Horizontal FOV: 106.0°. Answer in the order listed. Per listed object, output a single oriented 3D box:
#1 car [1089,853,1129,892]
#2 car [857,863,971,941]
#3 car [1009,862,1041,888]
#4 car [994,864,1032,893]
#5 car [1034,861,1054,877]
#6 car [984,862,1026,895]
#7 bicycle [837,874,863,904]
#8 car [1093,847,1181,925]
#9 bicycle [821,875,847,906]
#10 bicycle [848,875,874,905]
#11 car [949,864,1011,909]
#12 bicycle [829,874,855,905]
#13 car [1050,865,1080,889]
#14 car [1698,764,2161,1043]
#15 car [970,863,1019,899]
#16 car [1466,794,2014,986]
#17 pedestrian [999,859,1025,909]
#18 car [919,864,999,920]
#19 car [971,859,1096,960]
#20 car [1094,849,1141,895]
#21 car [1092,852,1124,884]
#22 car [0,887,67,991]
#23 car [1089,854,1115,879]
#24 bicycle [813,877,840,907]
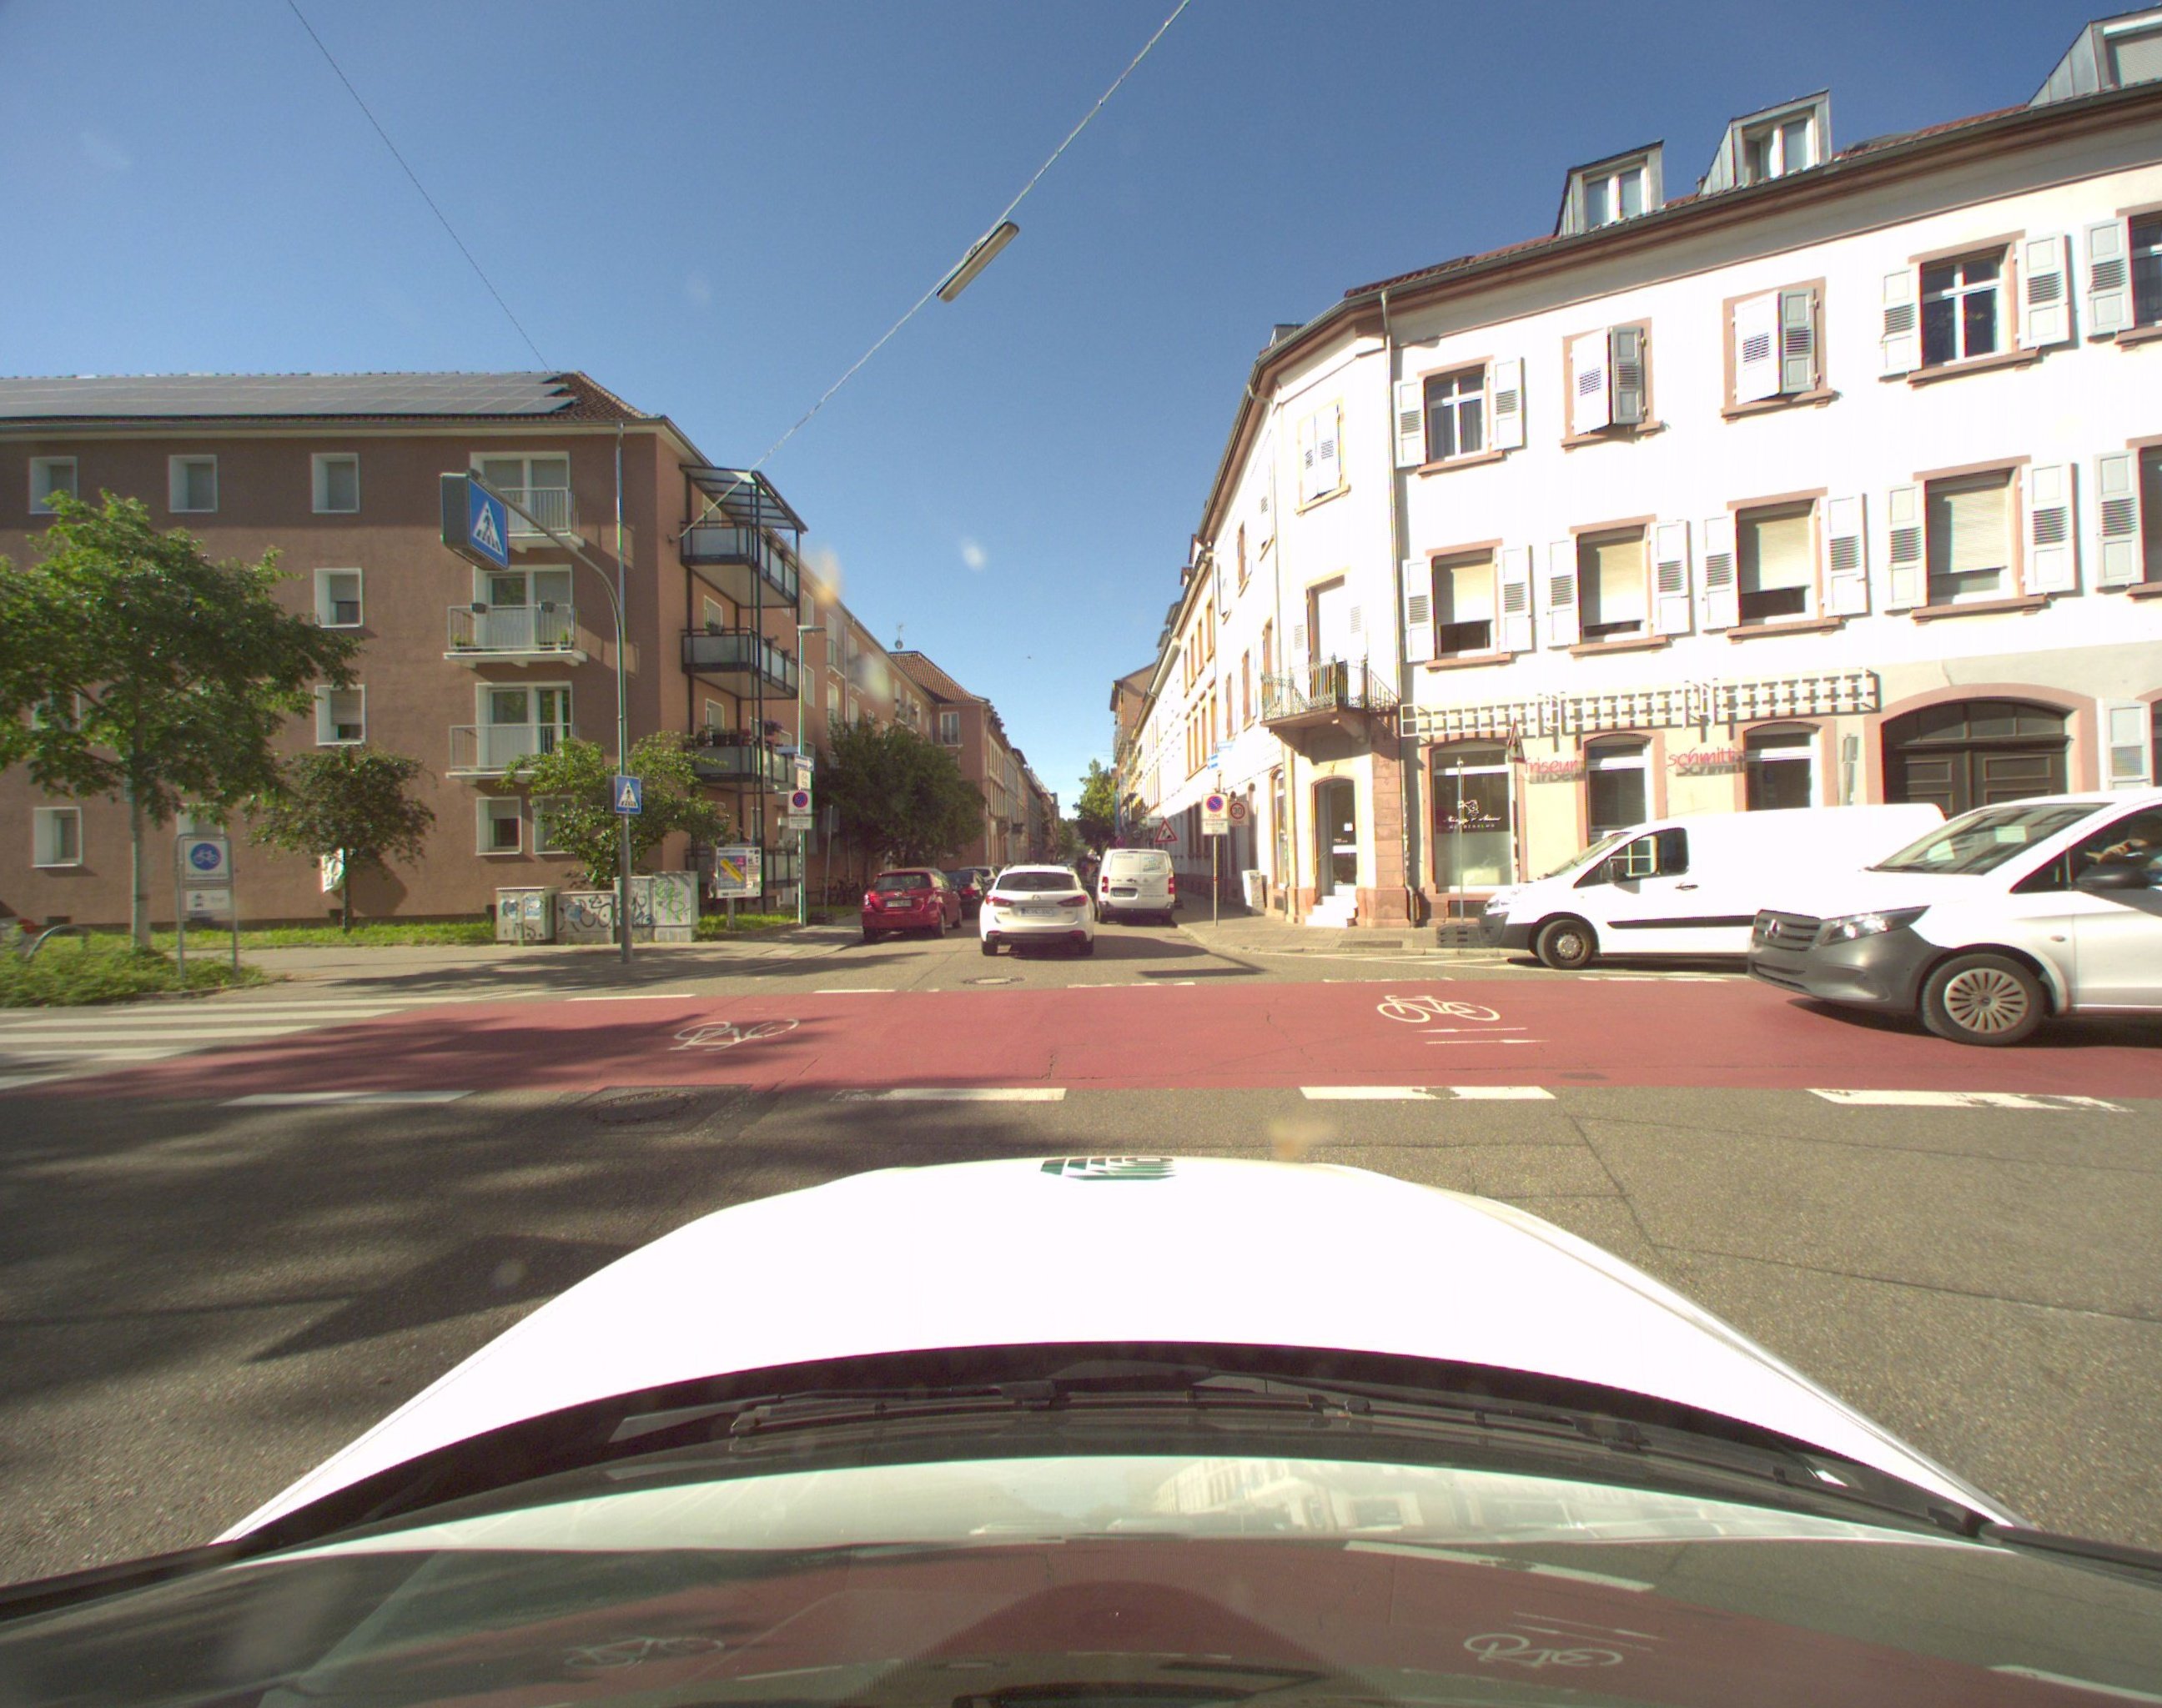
[{"bbox_3d":[1.380,0.919,41.216,1.888,1.859,3.995,-1,-1,1],"label":"car"},{"bbox_3d":[-3.660,1.005,18.494,1.679,1.500,3.807,-3,-1,1],"label":"car"},{"bbox_3d":[-3.449,1.281,51.003,1.647,1.500,3.763,-1,-1,1],"label":"car"},{"bbox_3d":[-3.743,1.332,45.239,1.647,1.500,3.763,-1,-1,1],"label":"car"},{"bbox_3d":[-3.687,1.484,81.659,1.647,1.500,3.763,-1,-1,1],"label":"car"},{"bbox_3d":[-3.746,1.195,40.768,1.647,1.500,3.763,-1,-1,1],"label":"car"},{"bbox_3d":[-8.440,1.268,29.679,1.201,1.071,0.255,-2,-1,40],"label":"bicycle"},{"bbox_3d":[1.375,0.789,22.004,1.889,1.859,5.010,1,-1,-1],"label":"car"},{"bbox_3d":[-8.862,1.306,29.177,1.201,1.072,0.268,-2,-1,40],"label":"bicycle"},{"bbox_3d":[-8.025,1.294,29.747,1.204,1.071,0.255,-2,-1,40],"label":"bicycle"},{"bbox_3d":[-3.593,1.125,29.522,1.647,1.500,3.763,-1,-1,1],"label":"car"},{"bbox_3d":[-8.646,1.282,29.446,1.201,1.071,0.255,-2,-1,40],"label":"bicycle"},{"bbox_3d":[-0.982,1.467,53.215,1.754,1.410,4.328,-1,-1,1],"label":"car"},{"bbox_3d":[8.447,0.323,6.351,5.364,1.907,2.117,-1,-1,17],"label":"car"},{"bbox_3d":[-3.792,1.160,36.214,1.647,1.500,3.763,-1,-1,1],"label":"car"},{"bbox_3d":[7.613,0.425,10.238,4.963,1.946,2.063,-2,-1,25],"label":"car"},{"bbox_3d":[-2.304,1.006,27.185,0.733,1.614,0.813,-2,-1,-11],"label":"pedestrian"},{"bbox_3d":[-3.563,1.067,24.388,1.647,1.500,4.080,-1,-1,1],"label":"car"},{"bbox_3d":[-0.674,0.889,14.179,1.824,1.457,3.962,-1,-2,1],"label":"car"},{"bbox_3d":[1.564,0.774,35.943,1.888,1.859,3.995,-1,-1,1],"label":"car"},{"bbox_3d":[1.733,0.893,52.815,1.888,1.859,3.996,-4,-1,1],"label":"car"},{"bbox_3d":[-17.497,1.287,11.485,4.129,1.454,1.745,-2,-1,-1],"label":"car"},{"bbox_3d":[1.619,0.948,63.388,1.888,1.859,3.995,-1,-1,1],"label":"car"},{"bbox_3d":[-9.057,1.334,28.917,1.201,1.035,0.293,-2,-1,40],"label":"bicycle"}]
